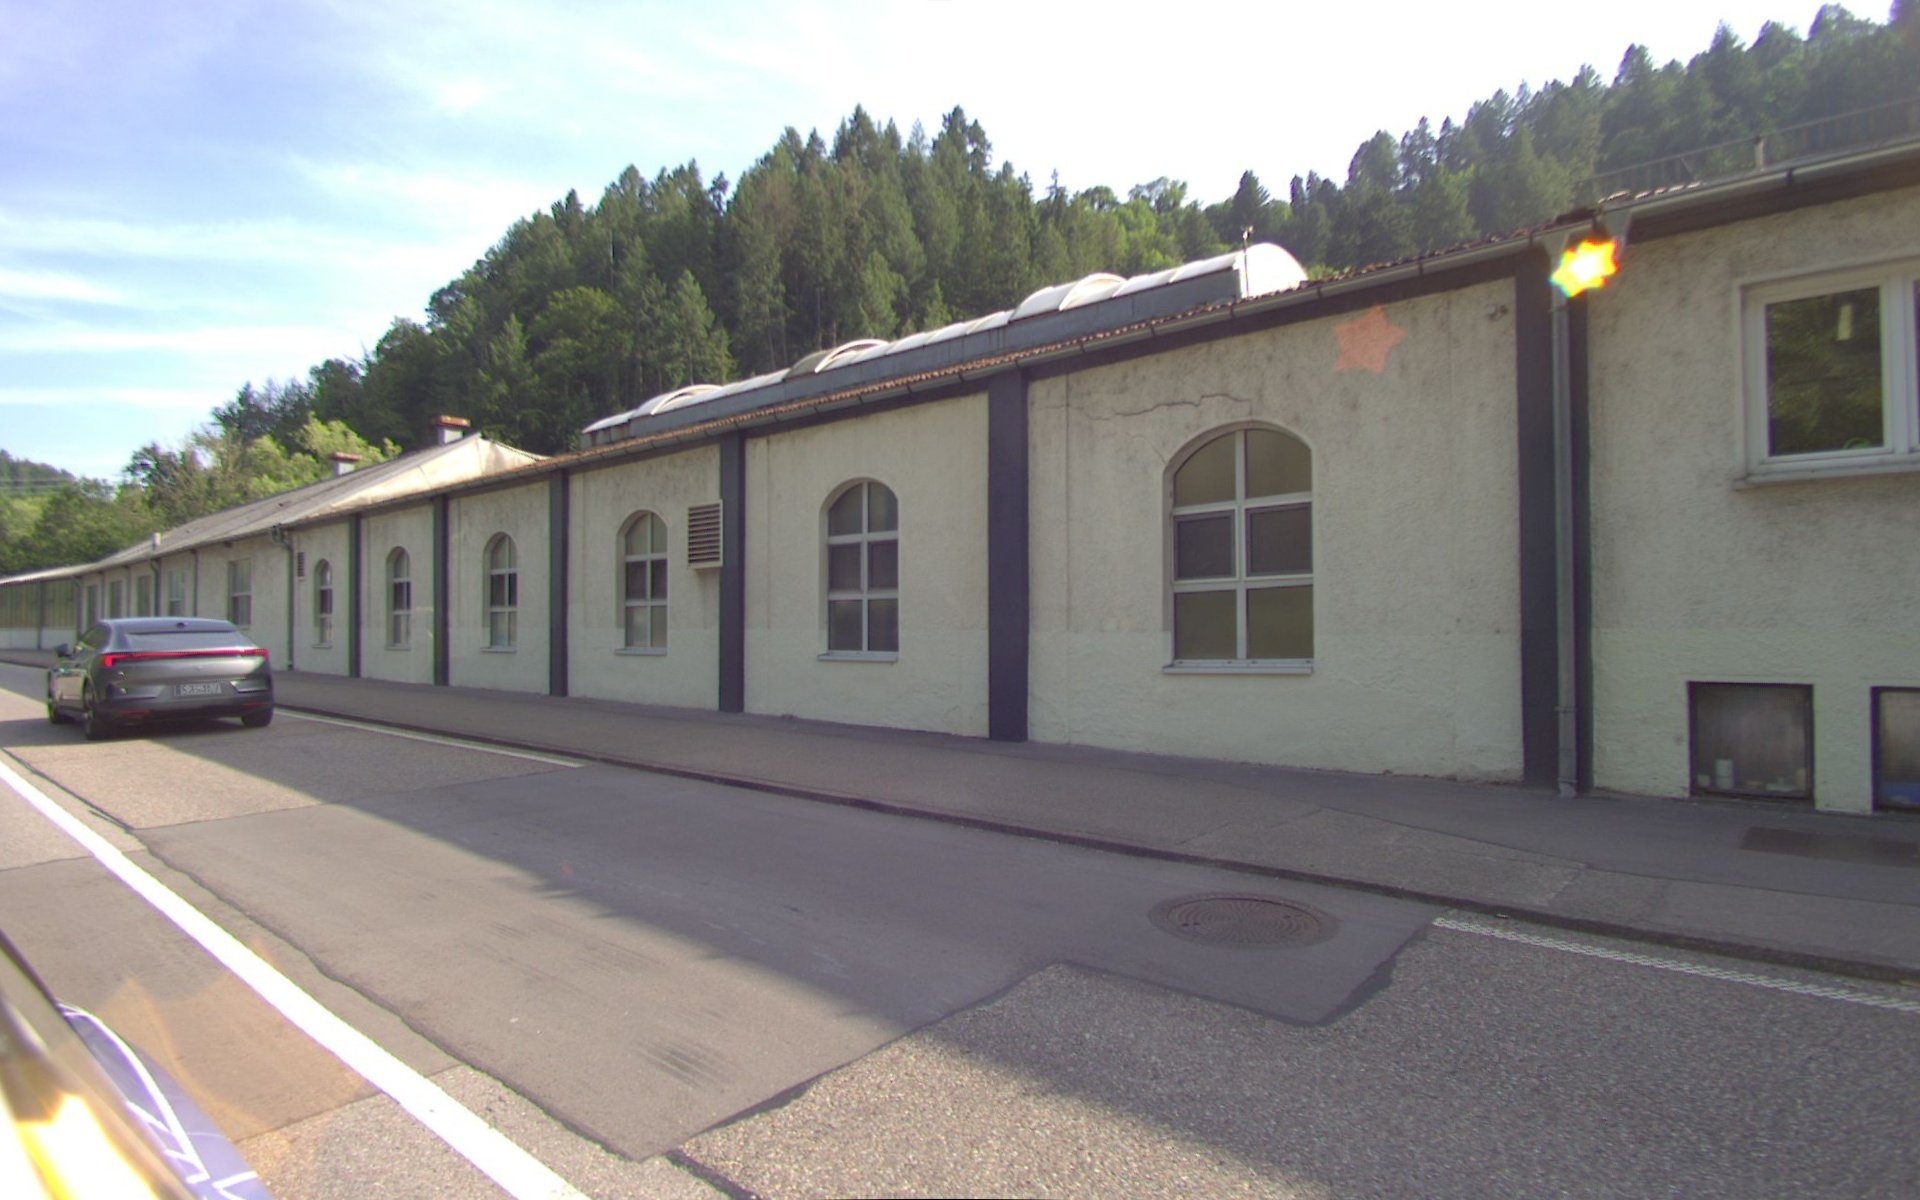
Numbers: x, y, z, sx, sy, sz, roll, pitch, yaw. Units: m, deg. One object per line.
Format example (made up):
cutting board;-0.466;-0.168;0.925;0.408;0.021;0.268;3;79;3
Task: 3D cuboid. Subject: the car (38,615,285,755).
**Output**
car;-11.181;1.055;14.052;4.456;1.593;1.910;-2;0;41
